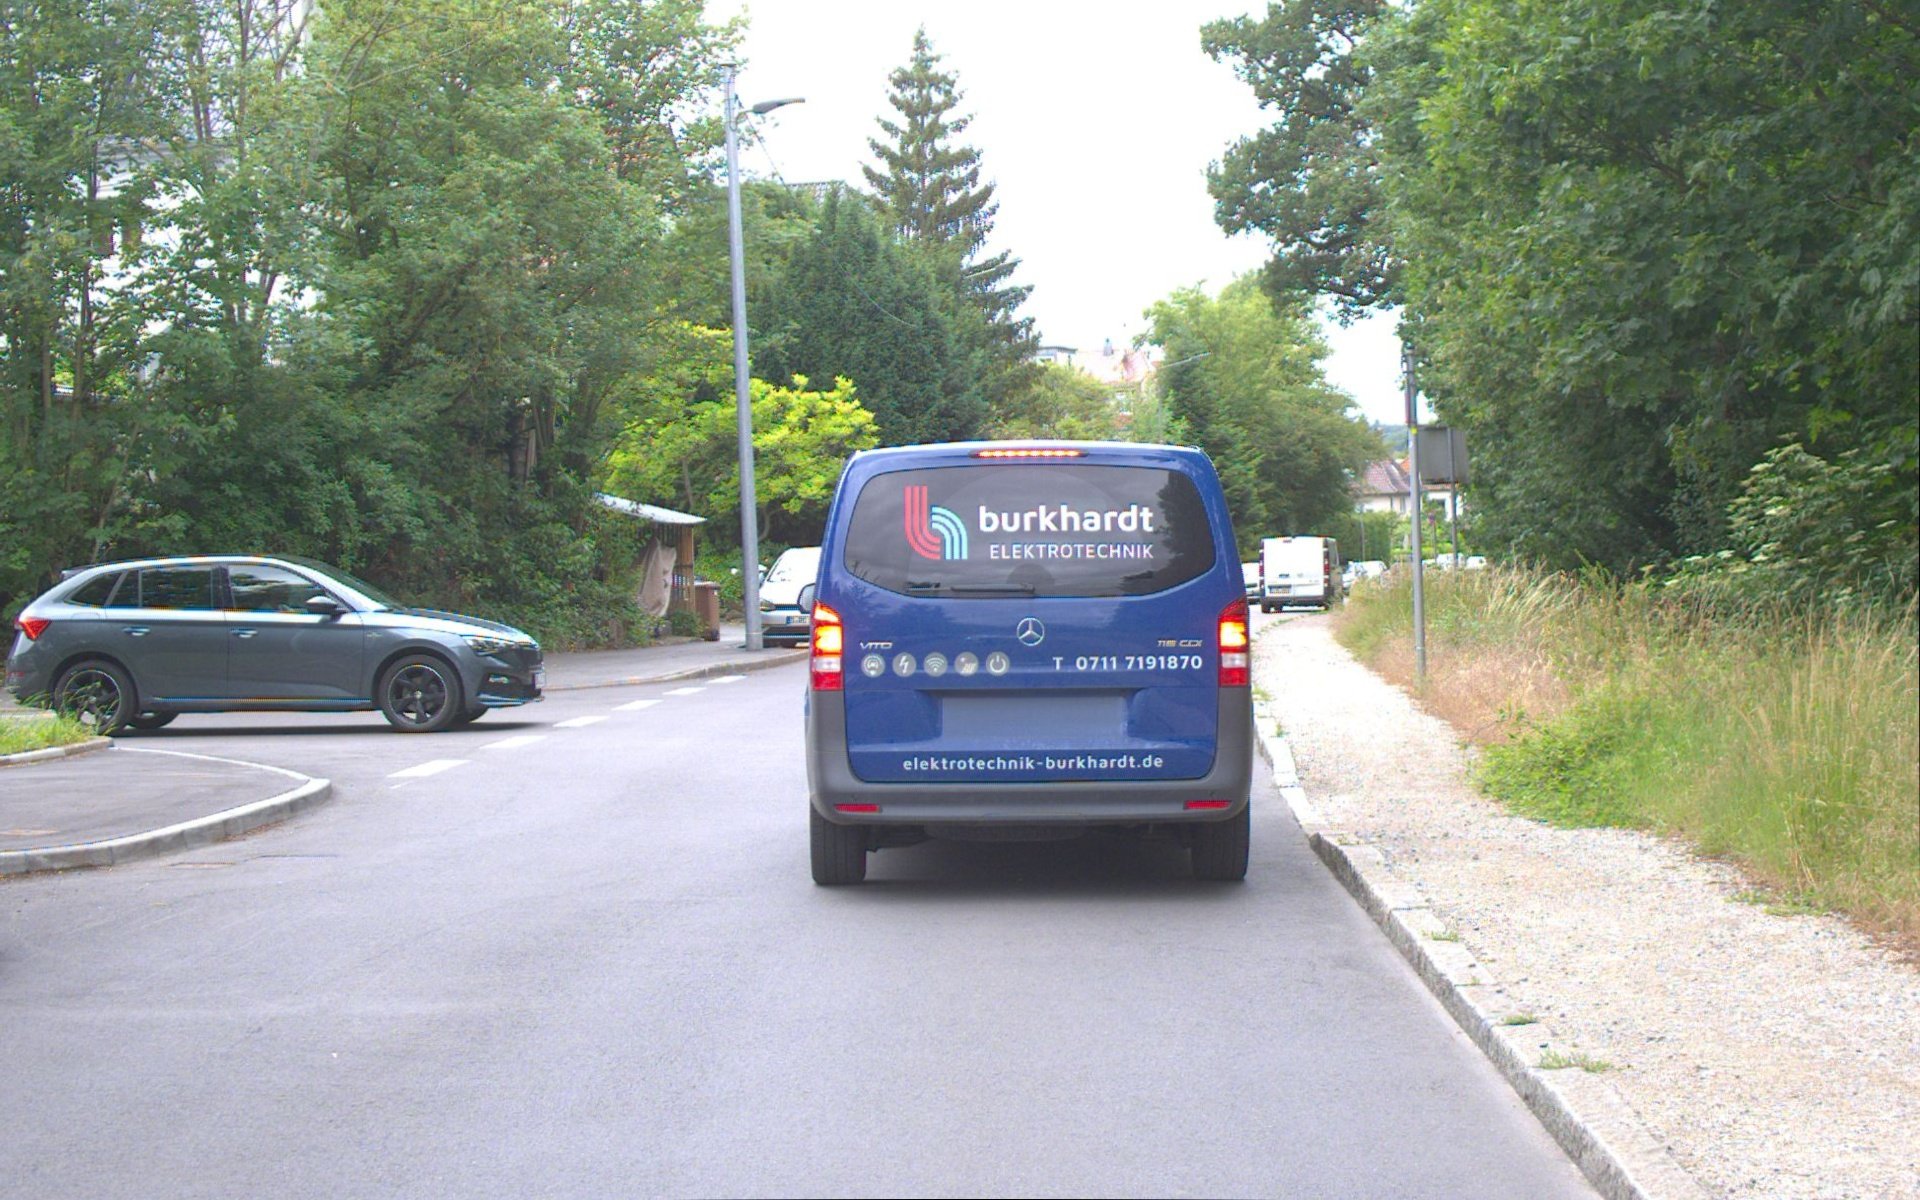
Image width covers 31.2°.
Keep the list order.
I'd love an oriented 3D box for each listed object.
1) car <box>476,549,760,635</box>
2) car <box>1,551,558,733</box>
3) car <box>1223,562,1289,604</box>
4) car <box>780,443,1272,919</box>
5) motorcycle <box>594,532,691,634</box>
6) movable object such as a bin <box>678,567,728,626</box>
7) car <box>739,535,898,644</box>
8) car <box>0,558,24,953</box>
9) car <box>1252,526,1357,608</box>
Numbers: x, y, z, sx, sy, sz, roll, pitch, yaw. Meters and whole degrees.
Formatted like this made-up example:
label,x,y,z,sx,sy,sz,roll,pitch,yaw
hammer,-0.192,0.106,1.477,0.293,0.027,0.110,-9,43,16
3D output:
label,x,y,z,sx,sy,sz,roll,pitch,yaw
car,-5.790,-0.142,58.467,4.482,1.436,1.878,0,1,9
car,-5.525,0.325,28.208,4.167,1.442,1.740,0,1,4
car,10.008,-0.590,116.056,1.750,1.400,3.998,0,1,11
car,0.302,0.268,15.889,1.936,1.873,4.531,0,1,1
motorcycle,-4.720,-0.270,51.363,0.810,1.480,2.895,0,1,8
movable object such as a bin,-3.992,-0.055,53.395,0.591,0.906,0.700,0,1,12
car,-1.956,-0.166,48.630,1.706,1.462,4.075,0,1,6
car,-4.344,0.585,10.033,1.831,1.369,4.445,0,1,3
car,9.130,-0.894,90.629,2.207,2.056,6.132,-1,1,11
